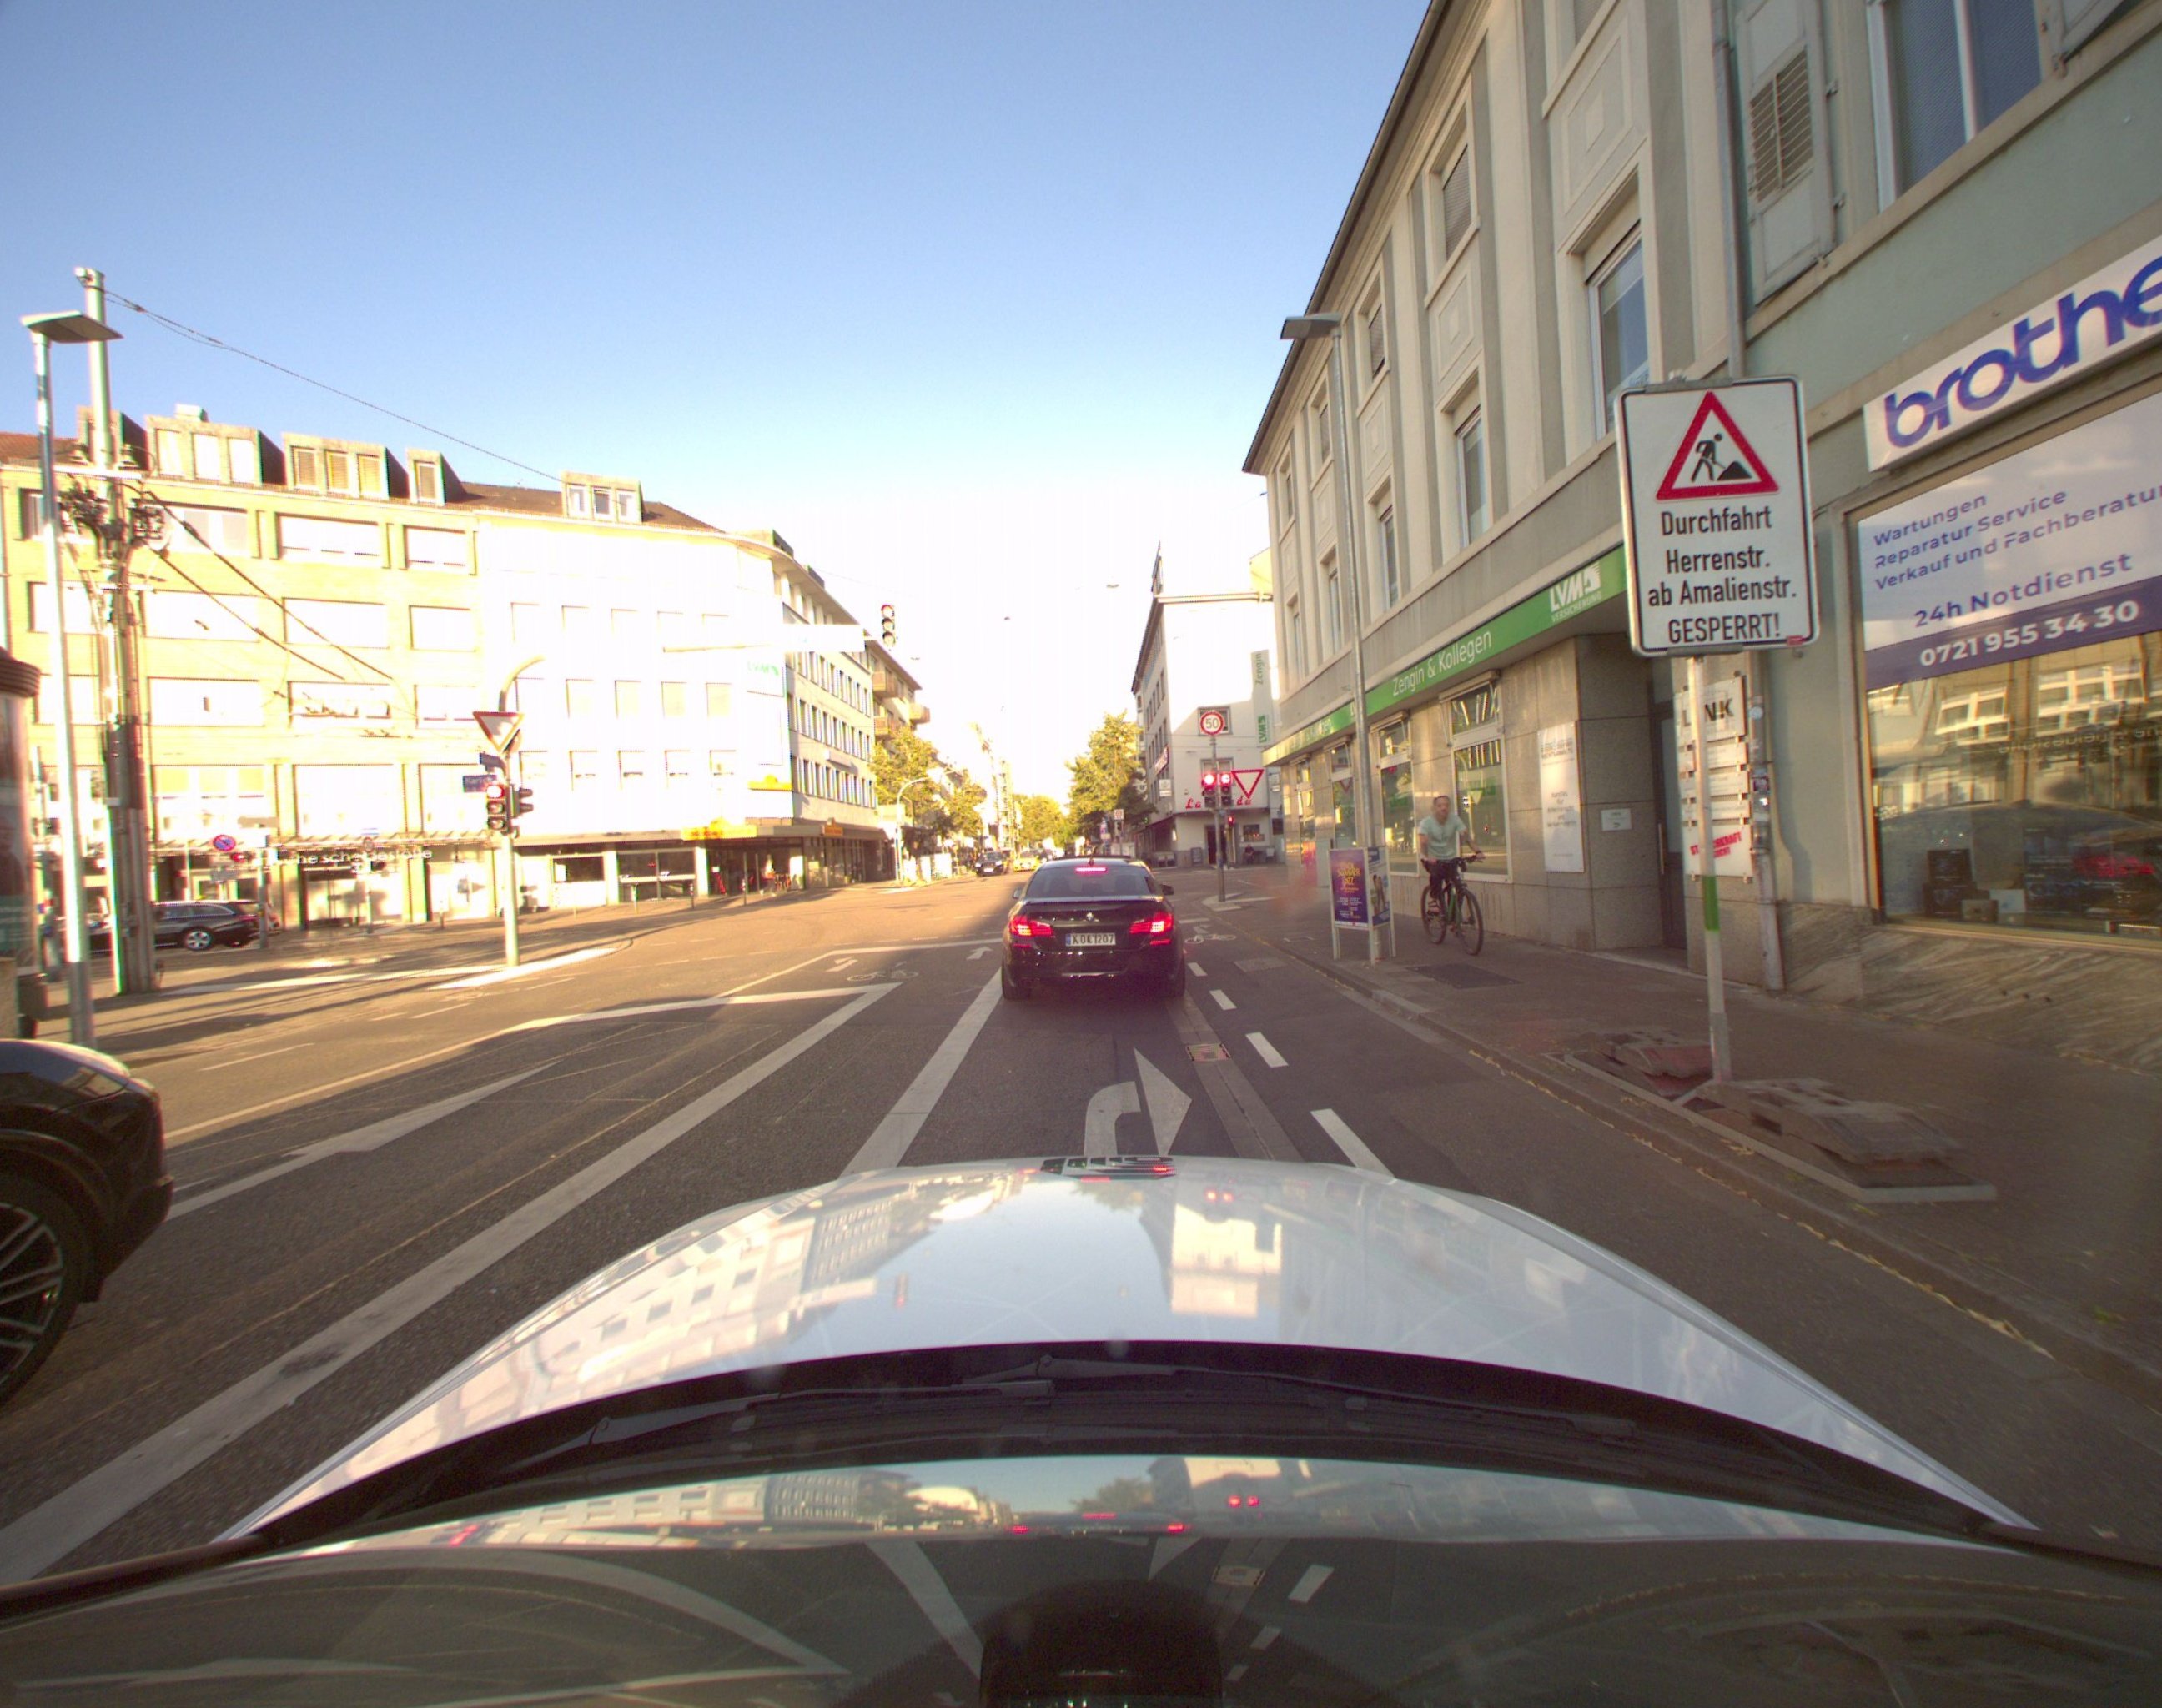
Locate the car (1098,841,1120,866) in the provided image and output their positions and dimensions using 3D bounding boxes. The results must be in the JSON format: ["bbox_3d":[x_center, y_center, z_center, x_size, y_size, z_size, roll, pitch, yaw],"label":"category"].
[{"bbox_3d":[2.144,-0.030,63.103,1.417,1.854,3.050,-2,0,-2],"label":"car"}]

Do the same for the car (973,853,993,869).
[{"bbox_3d":[-9.745,0.725,81.407,1.731,1.461,3.993,-3,0,-5],"label":"car"}]

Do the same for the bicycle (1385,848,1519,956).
[{"bbox_3d":[4.269,0.503,9.554,0.688,1.107,1.896,-3,0,1],"label":"bicycle"}]

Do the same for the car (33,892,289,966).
[{"bbox_3d":[-26.193,2.084,23.410,4.450,1.595,1.866,-3,0,-20],"label":"car"}]

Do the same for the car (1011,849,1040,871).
[{"bbox_3d":[-4.140,0.436,59.918,1.991,1.442,3.993,-3,0,-5],"label":"car"}]

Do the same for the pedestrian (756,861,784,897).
[{"bbox_3d":[-14.042,1.127,36.796,0.952,1.537,0.899,-3,0,-32],"label":"pedestrian"}]

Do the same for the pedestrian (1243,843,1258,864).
[{"bbox_3d":[10.031,-0.034,48.216,0.695,1.157,0.843,-3,0,-1],"label":"pedestrian"}]

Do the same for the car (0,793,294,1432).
[{"bbox_3d":[-3.952,0.768,0.692,1.941,1.714,4.563,-4,0,1],"label":"car"}]

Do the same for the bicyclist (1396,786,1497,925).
[{"bbox_3d":[4.231,0.014,9.495,0.719,1.507,0.900,-3,0,2],"label":"bicyclist"}]

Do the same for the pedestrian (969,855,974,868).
[{"bbox_3d":[-12.510,0.863,93.297,0.443,1.416,0.525,-3,0,-2],"label":"pedestrian"}]

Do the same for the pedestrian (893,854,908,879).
[{"bbox_3d":[-12.923,0.895,58.333,0.821,1.676,0.871,-3,0,-1],"label":"pedestrian"}]

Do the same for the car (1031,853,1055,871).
[{"bbox_3d":[-3.160,0.644,66.673,1.731,1.293,3.993,-3,0,-5],"label":"car"}]

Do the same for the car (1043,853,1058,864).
[{"bbox_3d":[-3.966,0.572,105.647,1.731,1.293,3.993,-3,0,-5],"label":"car"}]

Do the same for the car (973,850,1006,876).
[{"bbox_3d":[-6.073,0.573,54.509,1.991,1.618,3.993,-3,0,-5],"label":"car"}]

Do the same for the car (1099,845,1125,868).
[{"bbox_3d":[2.122,0.165,56.699,1.620,1.471,3.394,-2,0,0],"label":"car"}]

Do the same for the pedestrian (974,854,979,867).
[{"bbox_3d":[-12.076,0.735,94.369,0.443,1.416,0.525,-3,0,-2],"label":"pedestrian"}]

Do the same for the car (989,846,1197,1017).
[{"bbox_3d":[0.103,0.695,9.750,1.898,1.540,4.448,-1,0,-1],"label":"car"}]
